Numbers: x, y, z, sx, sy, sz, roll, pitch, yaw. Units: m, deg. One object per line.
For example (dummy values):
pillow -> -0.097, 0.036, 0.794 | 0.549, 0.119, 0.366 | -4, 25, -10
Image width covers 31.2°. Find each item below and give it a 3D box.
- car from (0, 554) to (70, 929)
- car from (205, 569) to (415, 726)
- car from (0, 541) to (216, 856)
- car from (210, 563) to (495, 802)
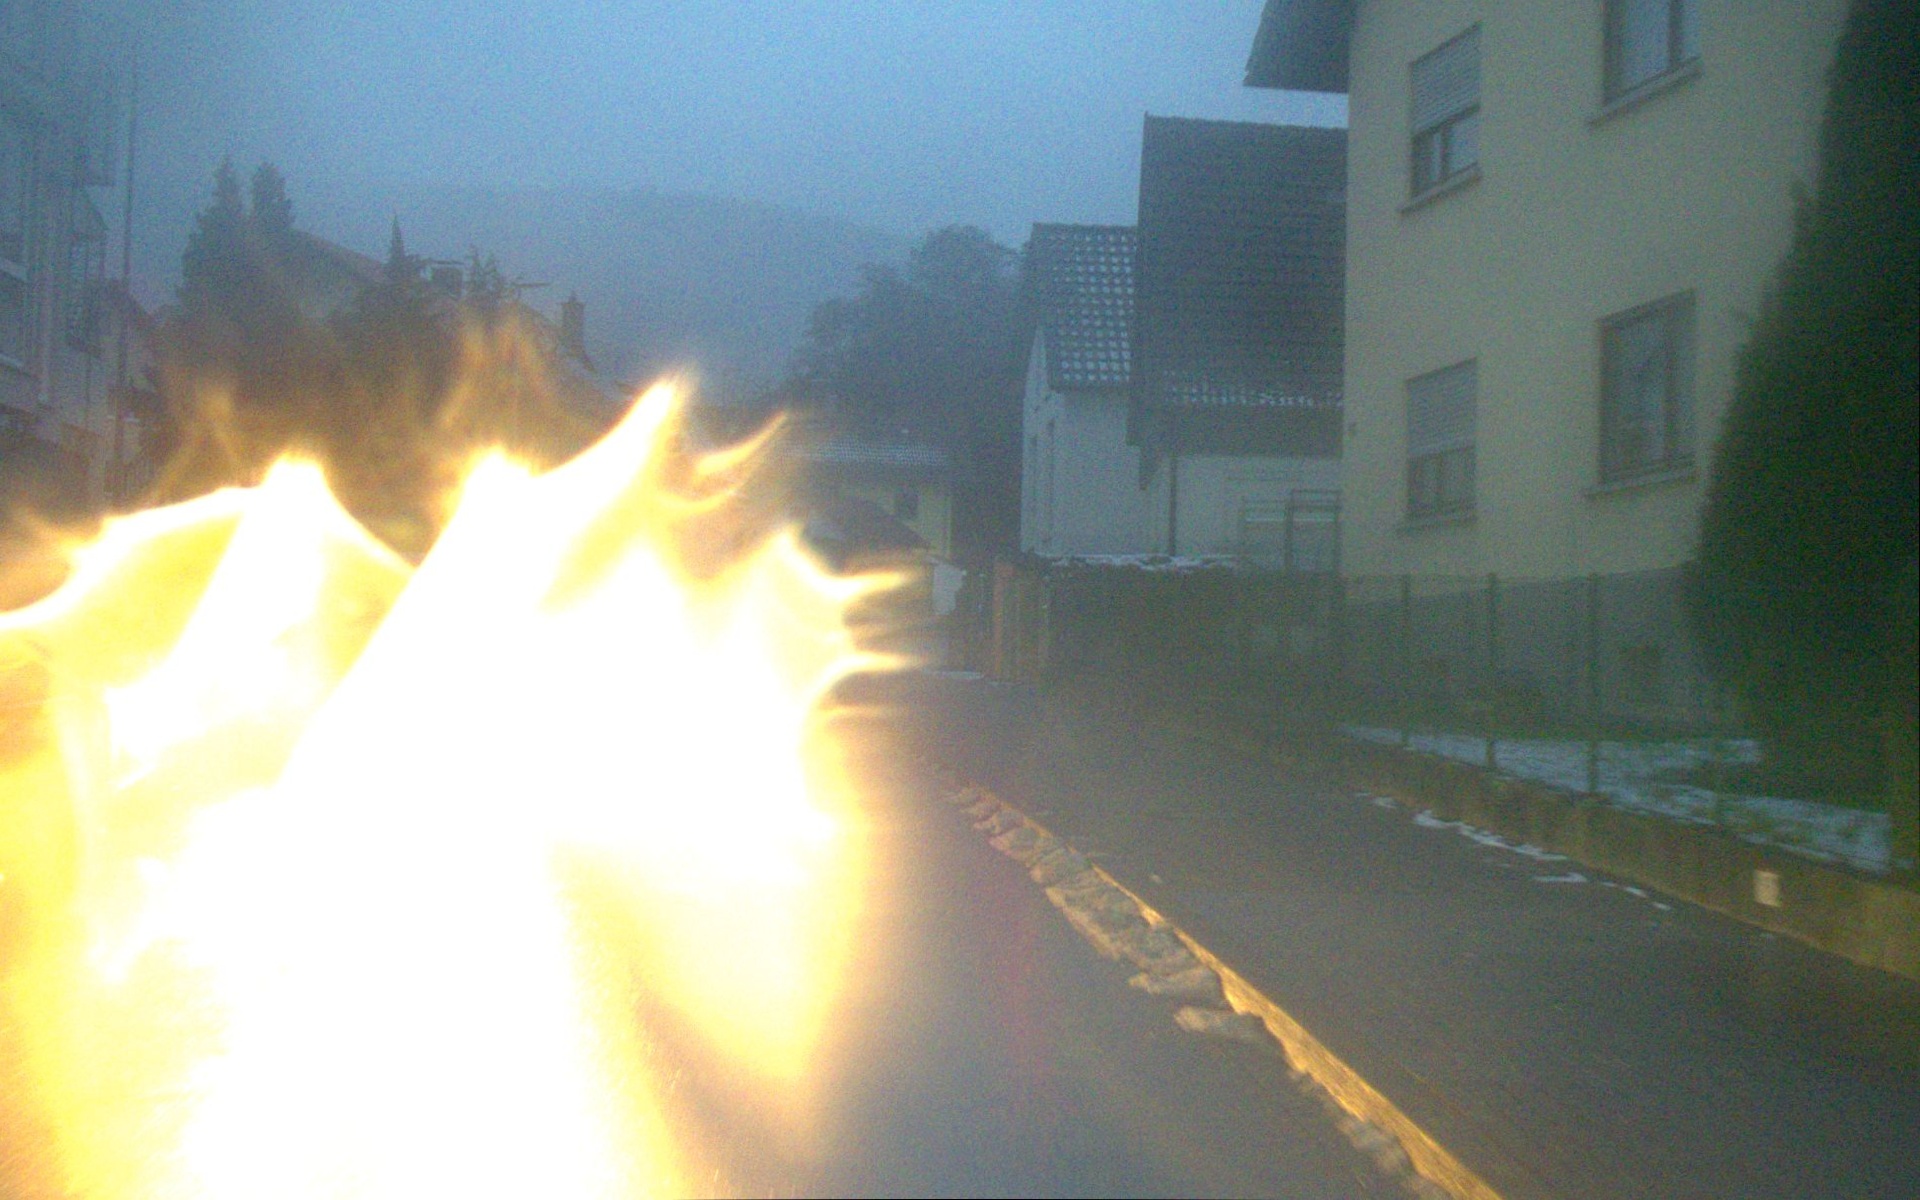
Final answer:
car -> -4.476, 0.541, 12.442 | 1.733, 1.431, 4.035 | 0, 1, -4
car -> -6.508, 0.446, 34.732 | 1.664, 1.413, 3.691 | 3, 0, -5
car -> -5.030, 0.414, 17.921 | 1.733, 1.439, 4.440 | 1, 1, -6
car -> -4.278, 0.498, 23.909 | 1.773, 1.490, 4.381 | 0, 1, -12
